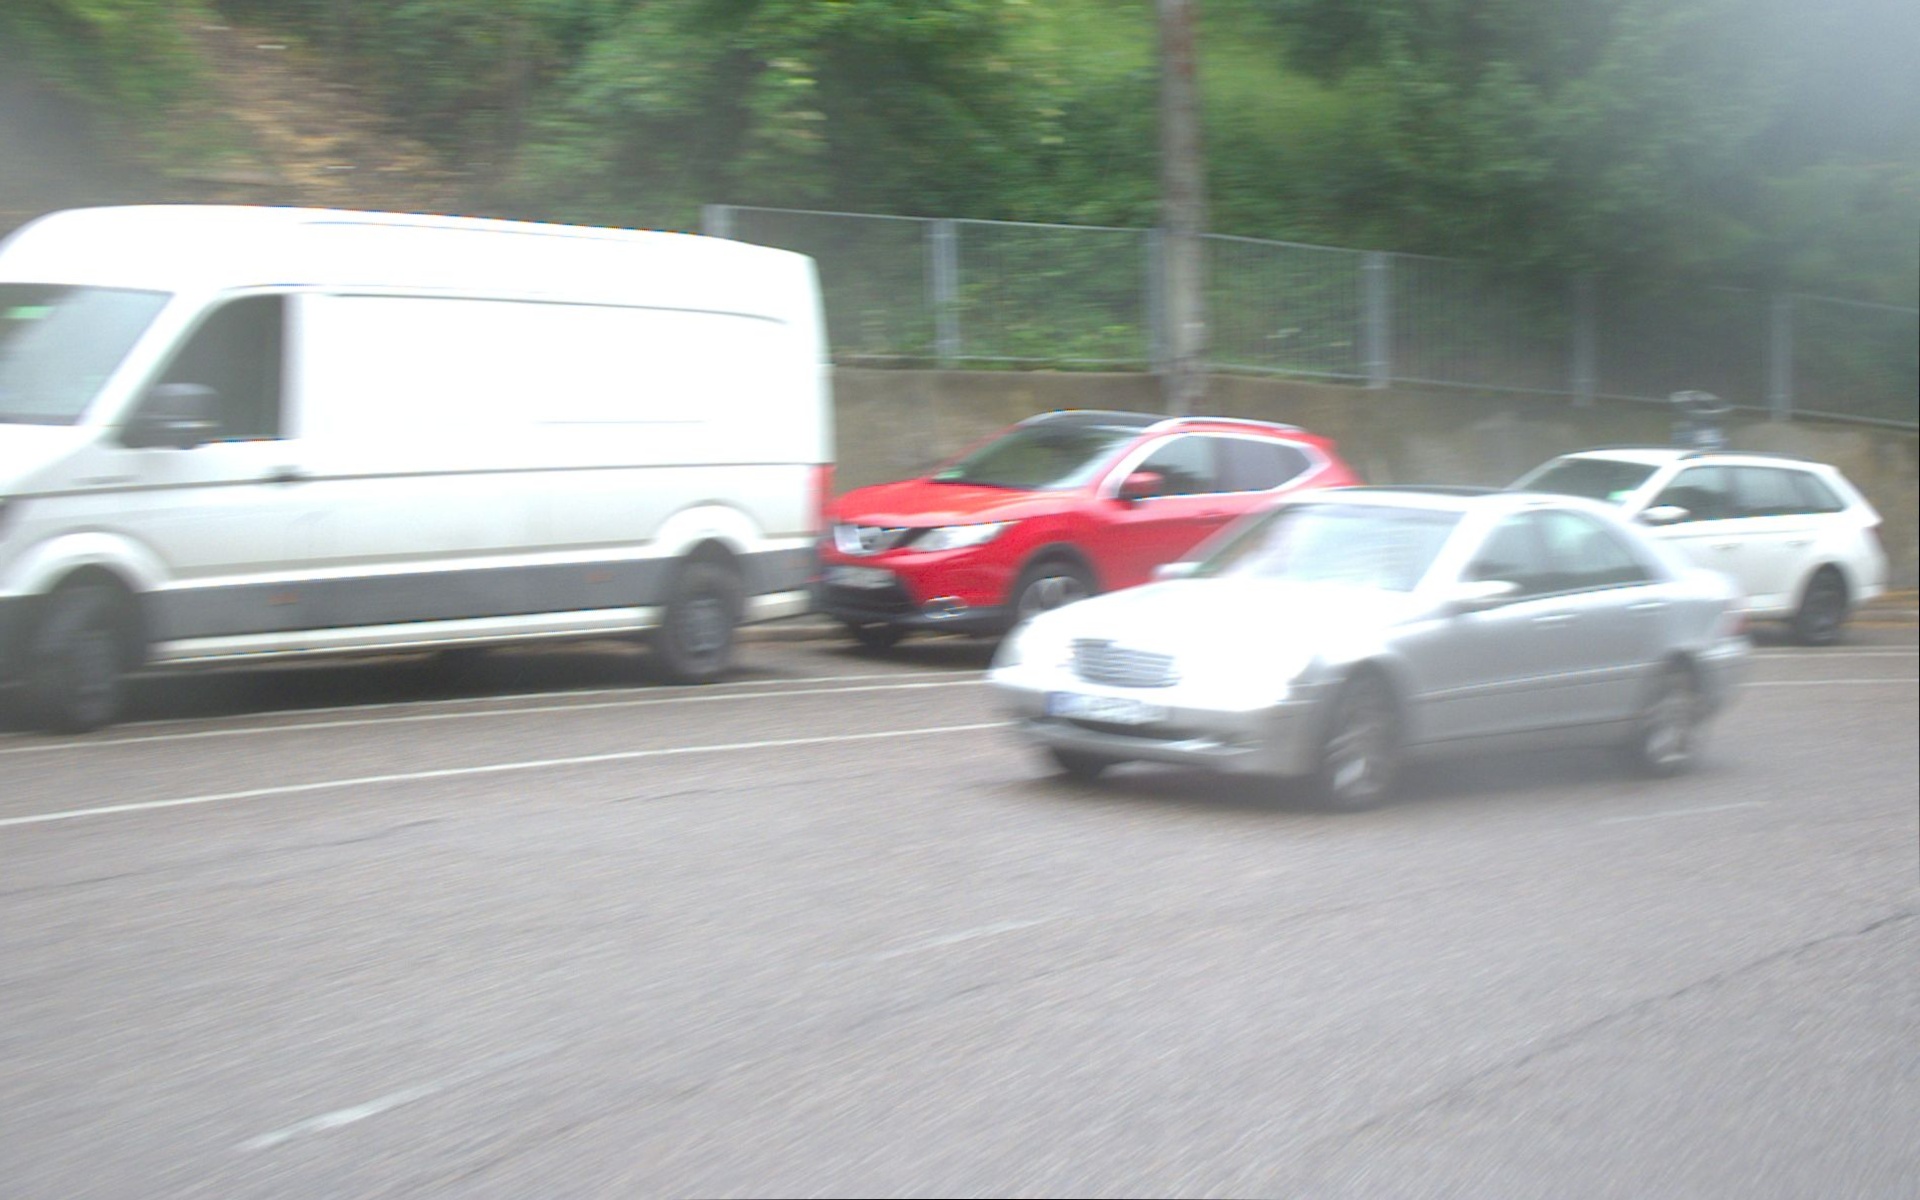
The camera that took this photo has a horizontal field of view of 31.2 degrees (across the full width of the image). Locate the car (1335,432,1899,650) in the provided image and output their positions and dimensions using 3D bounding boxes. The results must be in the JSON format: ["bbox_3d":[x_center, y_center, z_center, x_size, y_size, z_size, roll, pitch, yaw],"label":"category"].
[{"bbox_3d":[5.073,-0.493,26.384,4.185,1.473,1.744,-1,6,-34],"label":"car"}]

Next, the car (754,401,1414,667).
[{"bbox_3d":[0.910,-0.487,23.027,4.421,1.580,1.780,-2,5,-43],"label":"car"}]

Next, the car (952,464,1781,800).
[{"bbox_3d":[2.094,0.083,16.700,1.789,1.380,4.328,4,3,42],"label":"car"}]

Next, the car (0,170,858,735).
[{"bbox_3d":[-3.436,-0.815,18.308,2.039,2.521,6.810,4,4,35],"label":"car"}]
